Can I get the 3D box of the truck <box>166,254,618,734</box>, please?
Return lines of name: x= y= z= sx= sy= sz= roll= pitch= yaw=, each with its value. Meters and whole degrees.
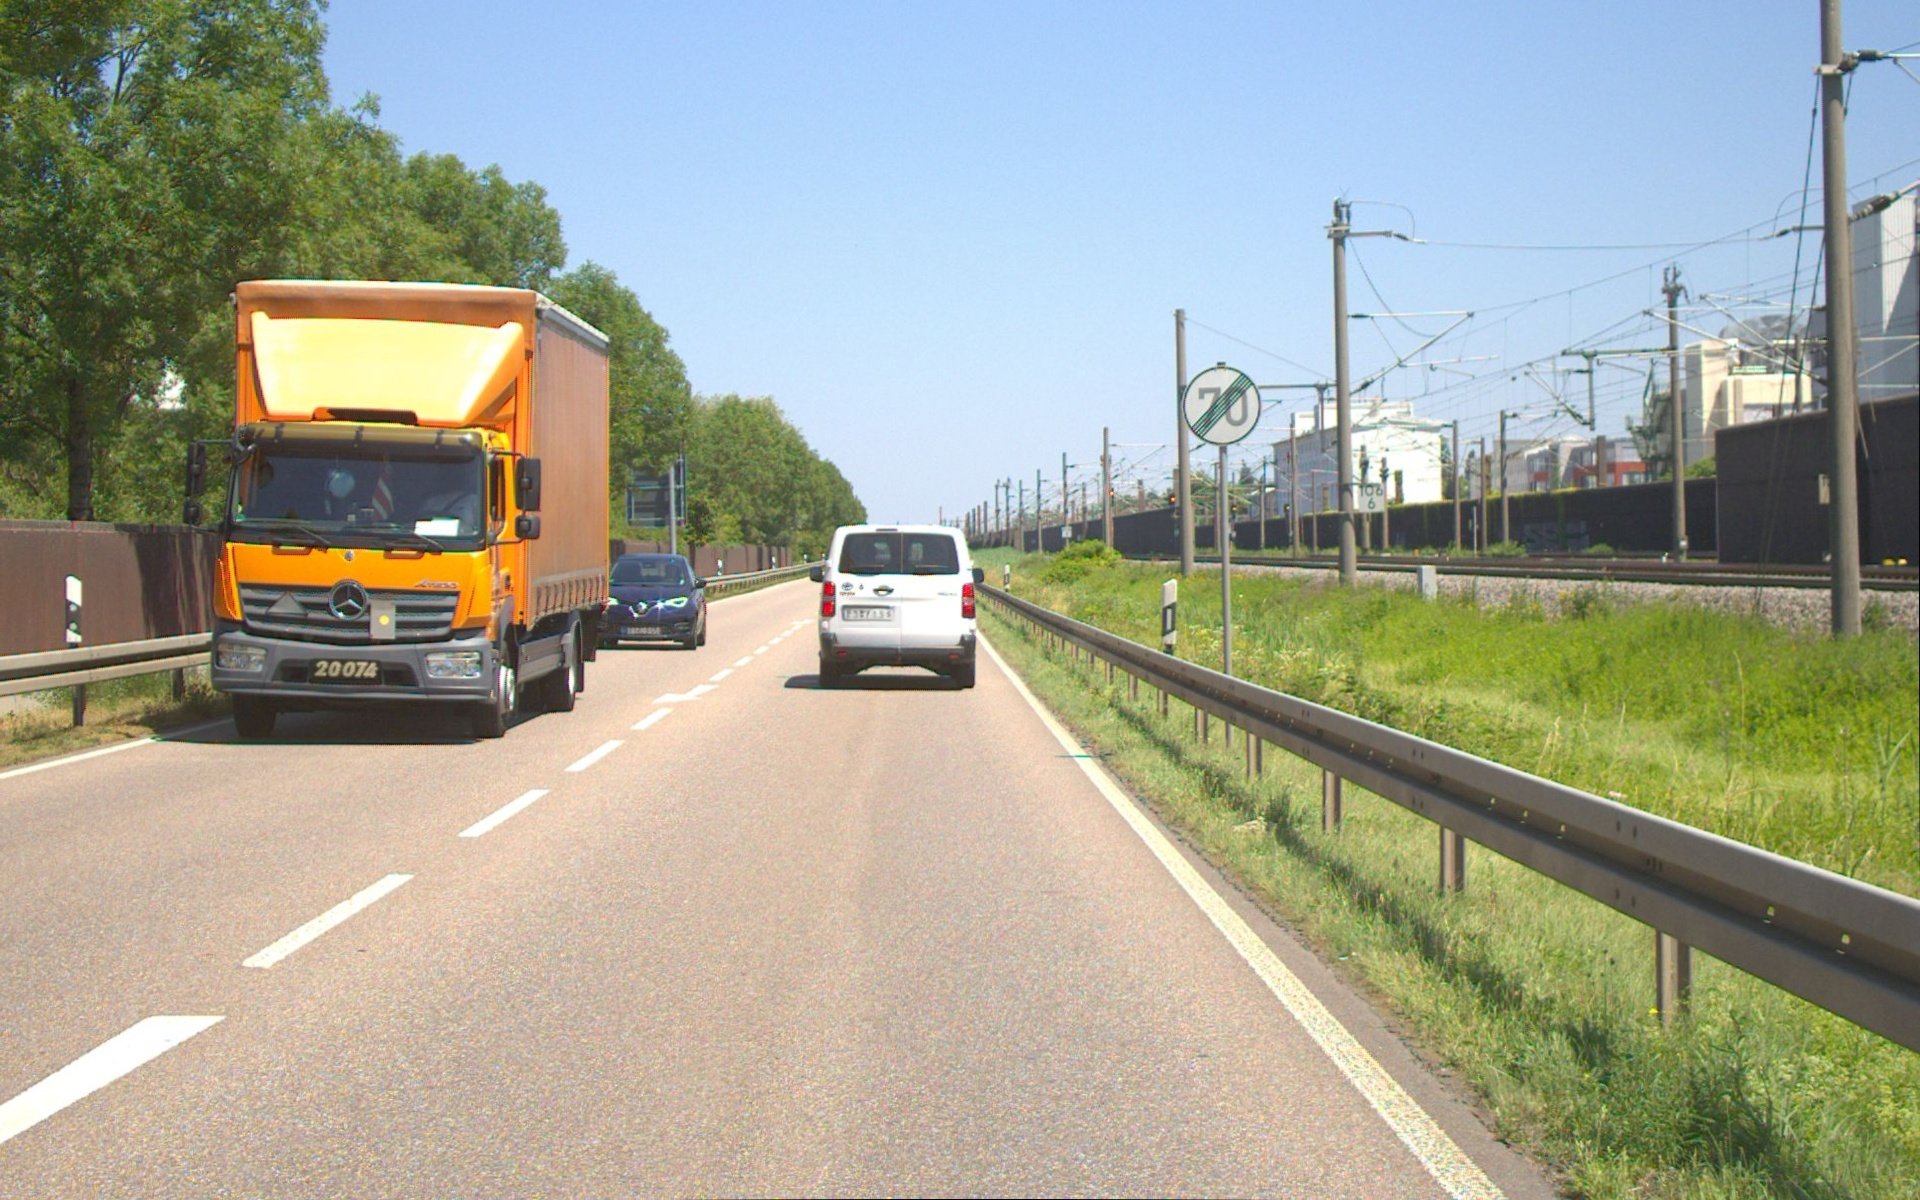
truck: x=-4.998 y=-0.904 z=32.110 sx=2.792 sy=3.827 sz=9.324 roll=0 pitch=1 yaw=-1

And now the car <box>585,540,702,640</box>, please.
car: x=-5.199 y=-0.197 z=56.820 sx=1.622 sy=1.572 sz=3.763 roll=0 pitch=1 yaw=-1

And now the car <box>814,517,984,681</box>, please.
car: x=-0.733 y=-0.041 z=41.870 sx=1.945 sy=1.875 sz=4.881 roll=0 pitch=1 yaw=-1
